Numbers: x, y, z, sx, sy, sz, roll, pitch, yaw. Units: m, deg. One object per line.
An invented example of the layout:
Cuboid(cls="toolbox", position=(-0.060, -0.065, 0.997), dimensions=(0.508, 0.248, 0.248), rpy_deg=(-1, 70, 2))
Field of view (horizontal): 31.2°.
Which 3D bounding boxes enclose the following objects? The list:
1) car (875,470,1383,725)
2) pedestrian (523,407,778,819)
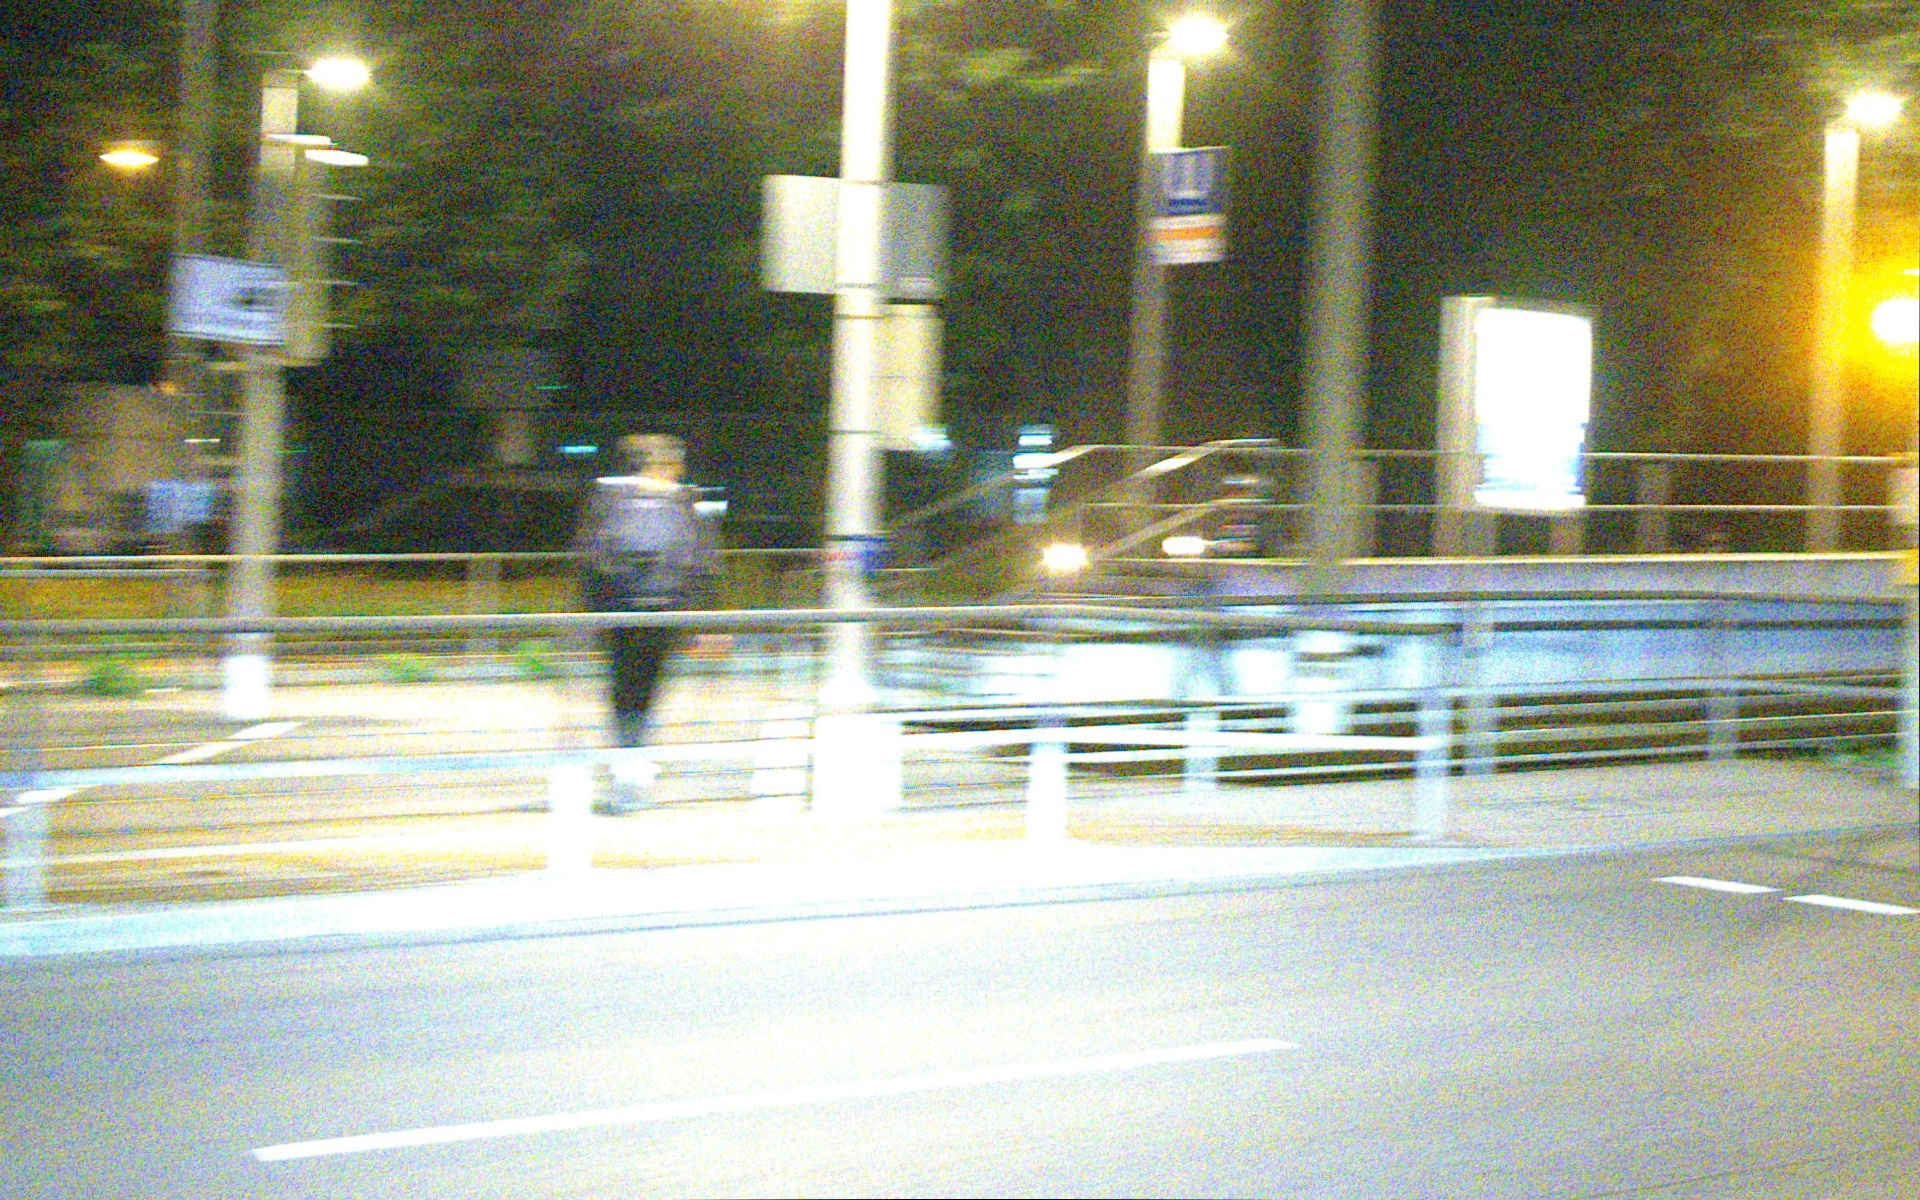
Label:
Cuboid(cls="car", position=(1.495, -0.072, 29.941), dimensions=(3.988, 2.006, 2.000), rpy_deg=(-3, 2, -35))
Cuboid(cls="pedestrian", position=(-1.358, 0.026, 15.078), dimensions=(0.755, 1.738, 0.833), rpy_deg=(-3, 4, -40))
